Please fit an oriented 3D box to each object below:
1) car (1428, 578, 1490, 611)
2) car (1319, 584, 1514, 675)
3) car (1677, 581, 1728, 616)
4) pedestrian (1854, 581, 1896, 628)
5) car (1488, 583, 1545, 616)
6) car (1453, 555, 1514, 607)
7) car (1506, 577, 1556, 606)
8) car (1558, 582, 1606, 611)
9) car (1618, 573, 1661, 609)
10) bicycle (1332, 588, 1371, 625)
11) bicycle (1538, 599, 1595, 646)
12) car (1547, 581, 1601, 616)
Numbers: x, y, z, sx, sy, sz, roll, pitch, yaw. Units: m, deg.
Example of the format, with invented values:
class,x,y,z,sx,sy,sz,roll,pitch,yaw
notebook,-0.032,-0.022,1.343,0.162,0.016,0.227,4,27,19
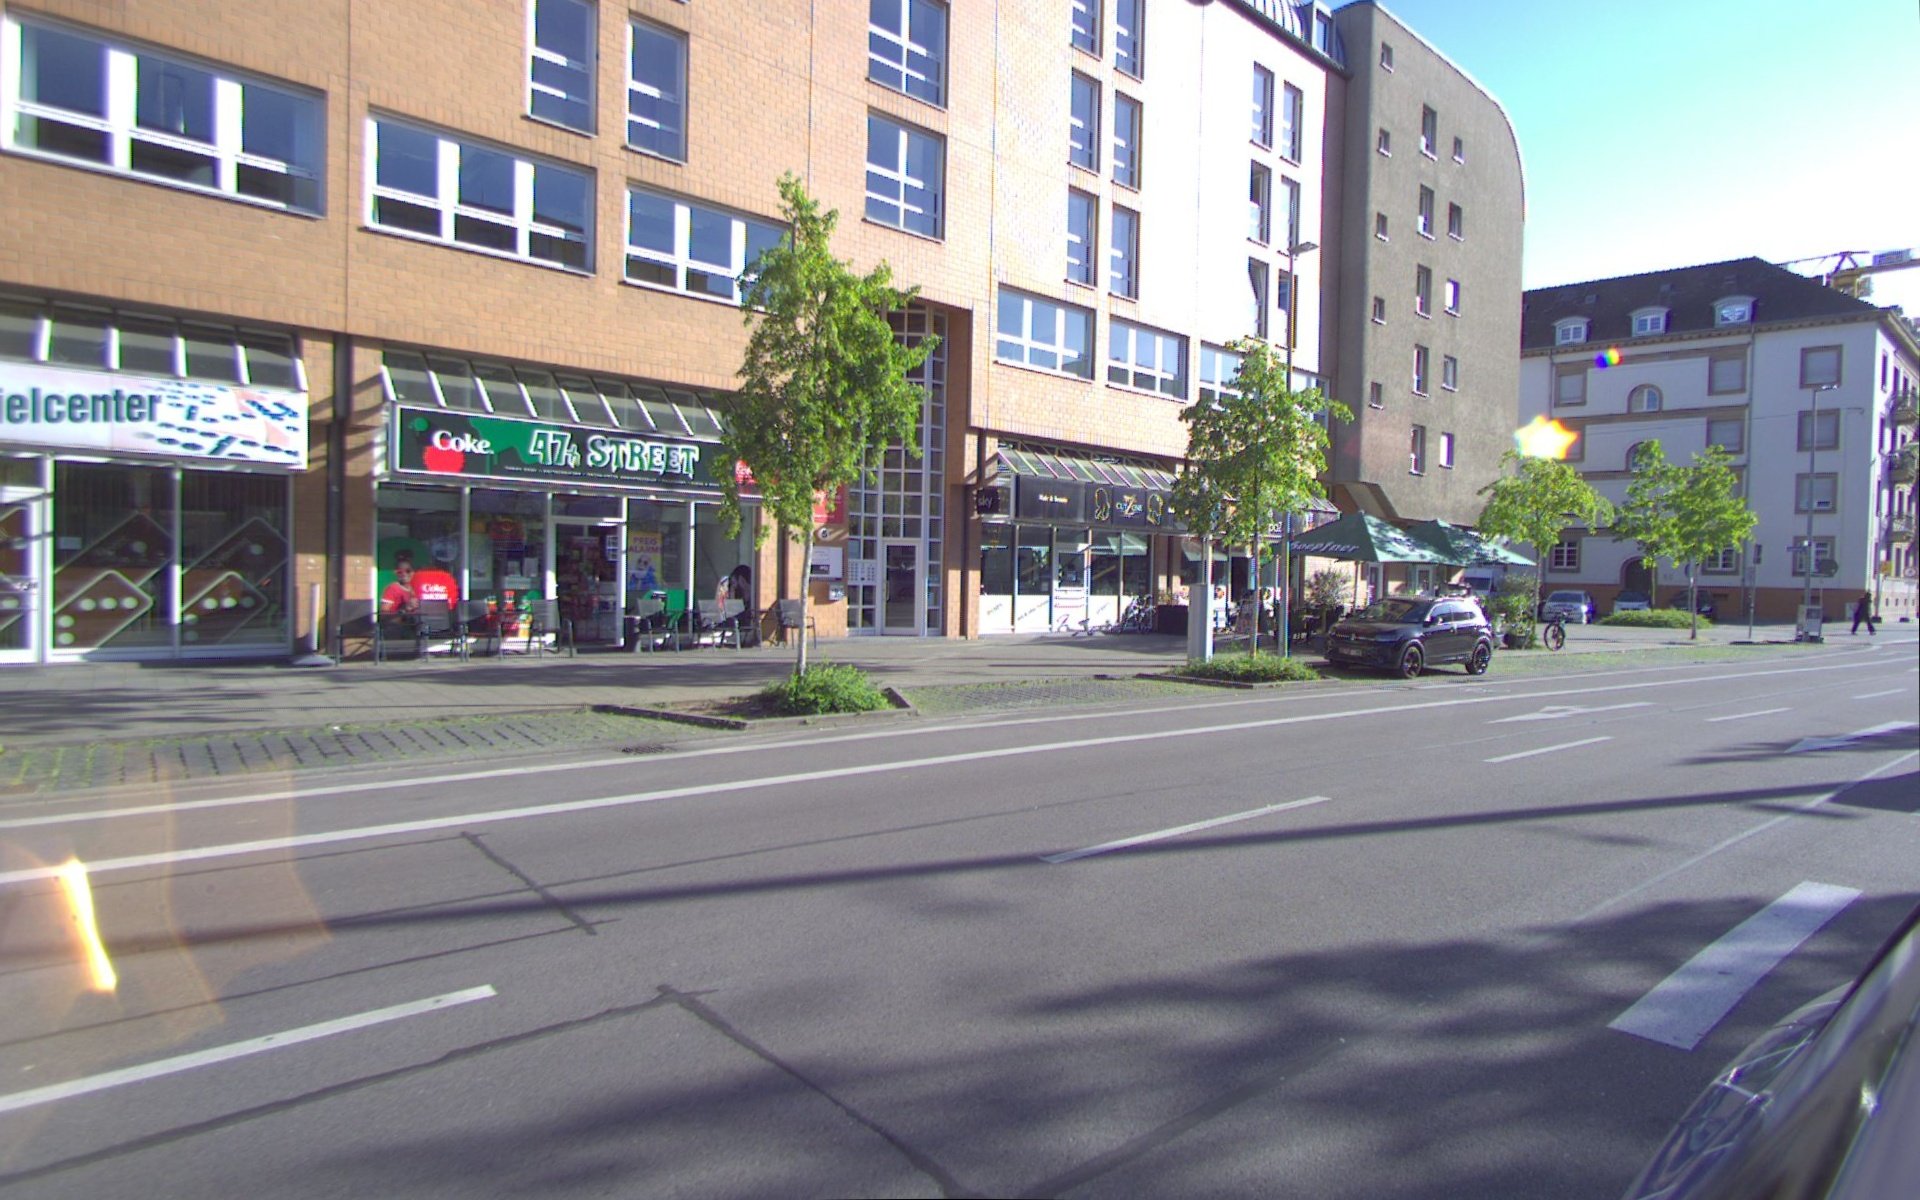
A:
class,x,y,z,sx,sy,sz,roll,pitch,yaw
car,23.472,-0.256,47.530,1.631,1.473,3.677,0,0,43
car,9.498,0.532,20.960,4.150,1.657,1.727,0,3,-34
car,37.340,-0.089,50.842,1.691,1.708,4.373,0,0,42
pedestrian,36.500,0.177,40.371,1.083,1.784,0.888,-1,4,-31
car,25.263,-0.029,45.925,1.629,1.471,3.603,0,0,40
car,29.485,-1.158,56.912,1.919,2.640,5.884,2,4,38
car,31.670,-0.489,56.051,1.690,1.497,4.377,0,1,39
car,33.399,-0.215,54.263,1.689,1.447,4.379,0,1,38
car,35.483,-0.502,52.796,1.620,1.707,4.381,1,3,37
bicycle,13.133,0.196,33.926,1.511,1.183,0.614,0,3,-44
bicycle,16.599,0.590,27.683,1.965,1.093,0.767,-2,8,-44
car,27.031,-0.073,44.504,1.658,1.493,3.784,0,0,38
